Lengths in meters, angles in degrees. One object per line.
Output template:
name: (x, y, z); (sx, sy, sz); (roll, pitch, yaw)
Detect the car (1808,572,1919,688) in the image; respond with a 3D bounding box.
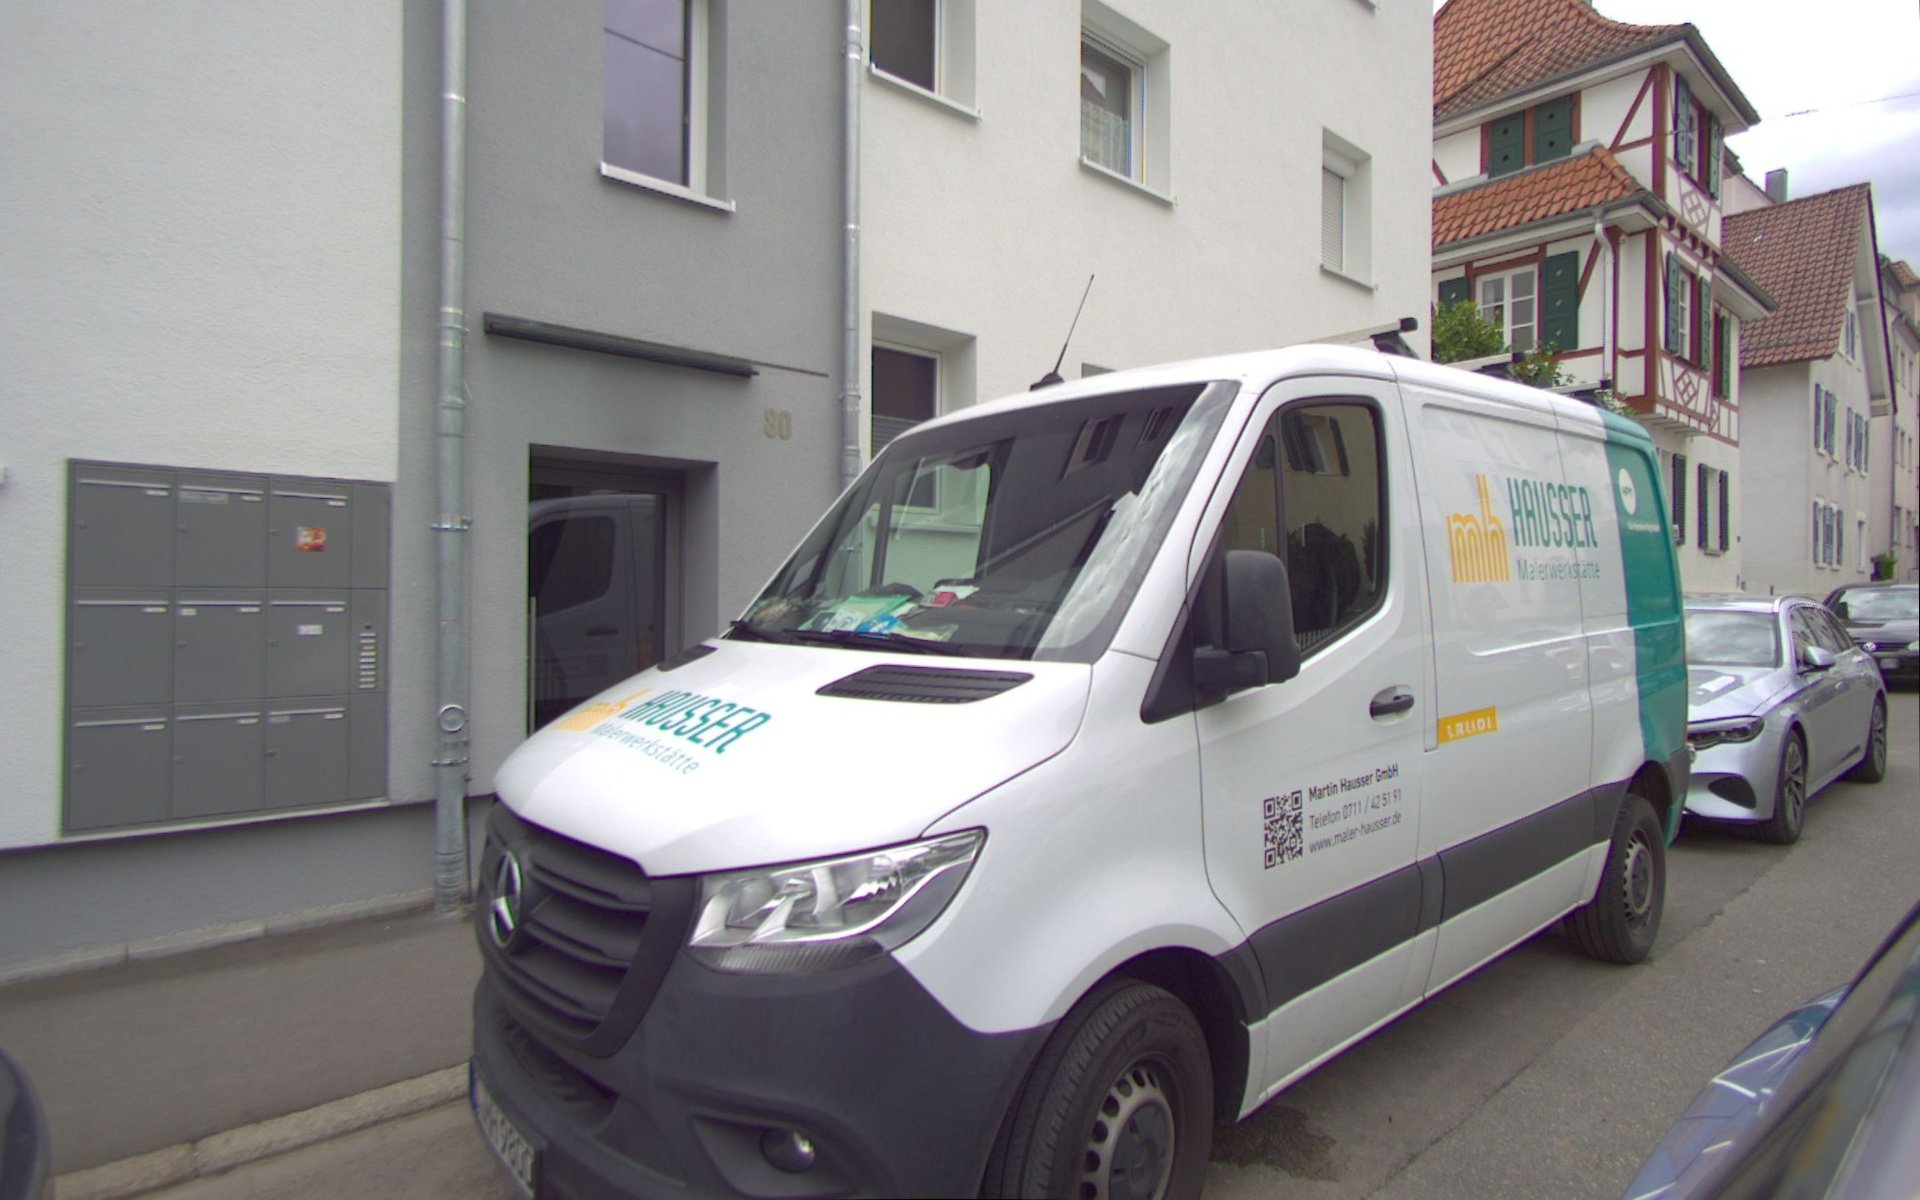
car: (14.008, 0.357, 14.973); (3.954, 1.508, 1.607); (-2, 0, -41)

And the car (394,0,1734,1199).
car: (0.993, 0.247, 3.833); (5.199, 2.452, 1.998); (-1, 1, -40)

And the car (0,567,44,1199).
car: (-3.180, 0.716, 0.352); (4.213, 1.505, 1.820); (0, 0, -42)

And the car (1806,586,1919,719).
car: (13.834, 0.702, 14.769); (3.932, 1.742, 1.778); (1, -1, -43)

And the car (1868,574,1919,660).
car: (17.592, 0.239, 18.039); (4.164, 1.410, 1.627); (-2, 0, -42)

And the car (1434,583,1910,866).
car: (5.467, 0.658, 7.552); (4.306, 1.463, 1.828); (-2, 0, -40)
